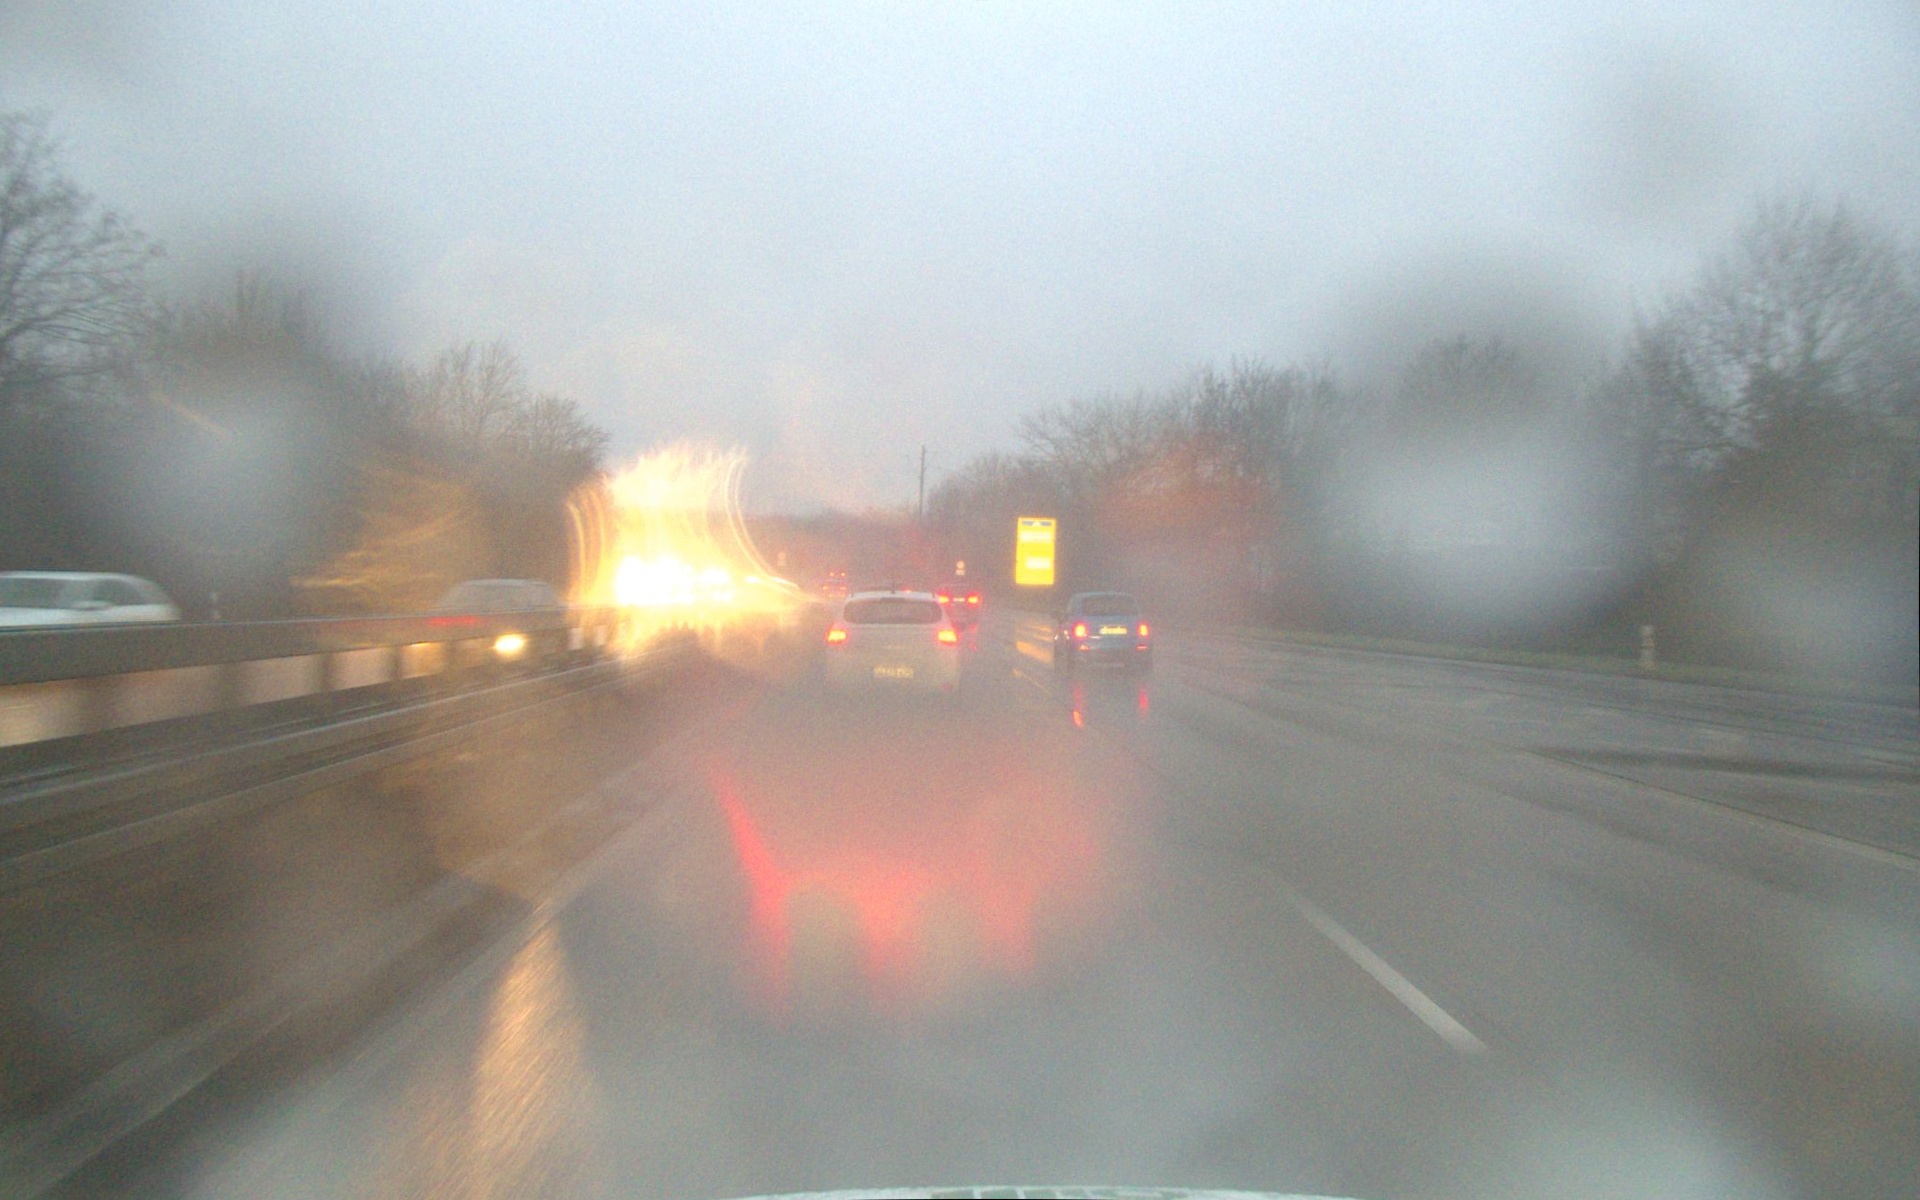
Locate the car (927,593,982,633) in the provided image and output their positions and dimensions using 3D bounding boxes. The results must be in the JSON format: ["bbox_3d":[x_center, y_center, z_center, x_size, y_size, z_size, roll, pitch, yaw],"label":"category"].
[{"bbox_3d":[-0.288,0.602,72.954,1.896,1.573,3.767,-4,-1,-7],"label":"car"}]

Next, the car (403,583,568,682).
[{"bbox_3d":[-7.922,0.504,28.035,1.584,1.510,4.597,2,0,-2],"label":"car"}]

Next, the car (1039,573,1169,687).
[{"bbox_3d":[2.751,0.546,32.362,1.895,2.055,3.770,2,0,-5],"label":"car"}]

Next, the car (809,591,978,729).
[{"bbox_3d":[-0.849,0.721,21.911,1.984,1.602,3.999,2,0,-2],"label":"car"}]

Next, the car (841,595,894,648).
[{"bbox_3d":[-3.732,0.853,67.390,1.953,2.049,3.999,2,0,-2],"label":"car"}]

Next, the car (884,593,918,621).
[{"bbox_3d":[-3.467,0.397,97.404,1.894,1.573,3.772,2,0,-2],"label":"car"}]

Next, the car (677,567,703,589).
[{"bbox_3d":[-23.778,-1.942,145.736,1.846,1.864,4.782,2,0,-5],"label":"car"}]

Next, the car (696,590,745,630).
[{"bbox_3d":[-9.834,0.408,68.077,1.620,1.545,3.503,2,0,-3],"label":"car"}]

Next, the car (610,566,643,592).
[{"bbox_3d":[-25.718,-1.604,127.570,1.843,1.864,4.782,2,0,-5],"label":"car"}]

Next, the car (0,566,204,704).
[{"bbox_3d":[-11.745,0.382,21.547,1.669,1.593,4.848,2,0,-2],"label":"car"}]
